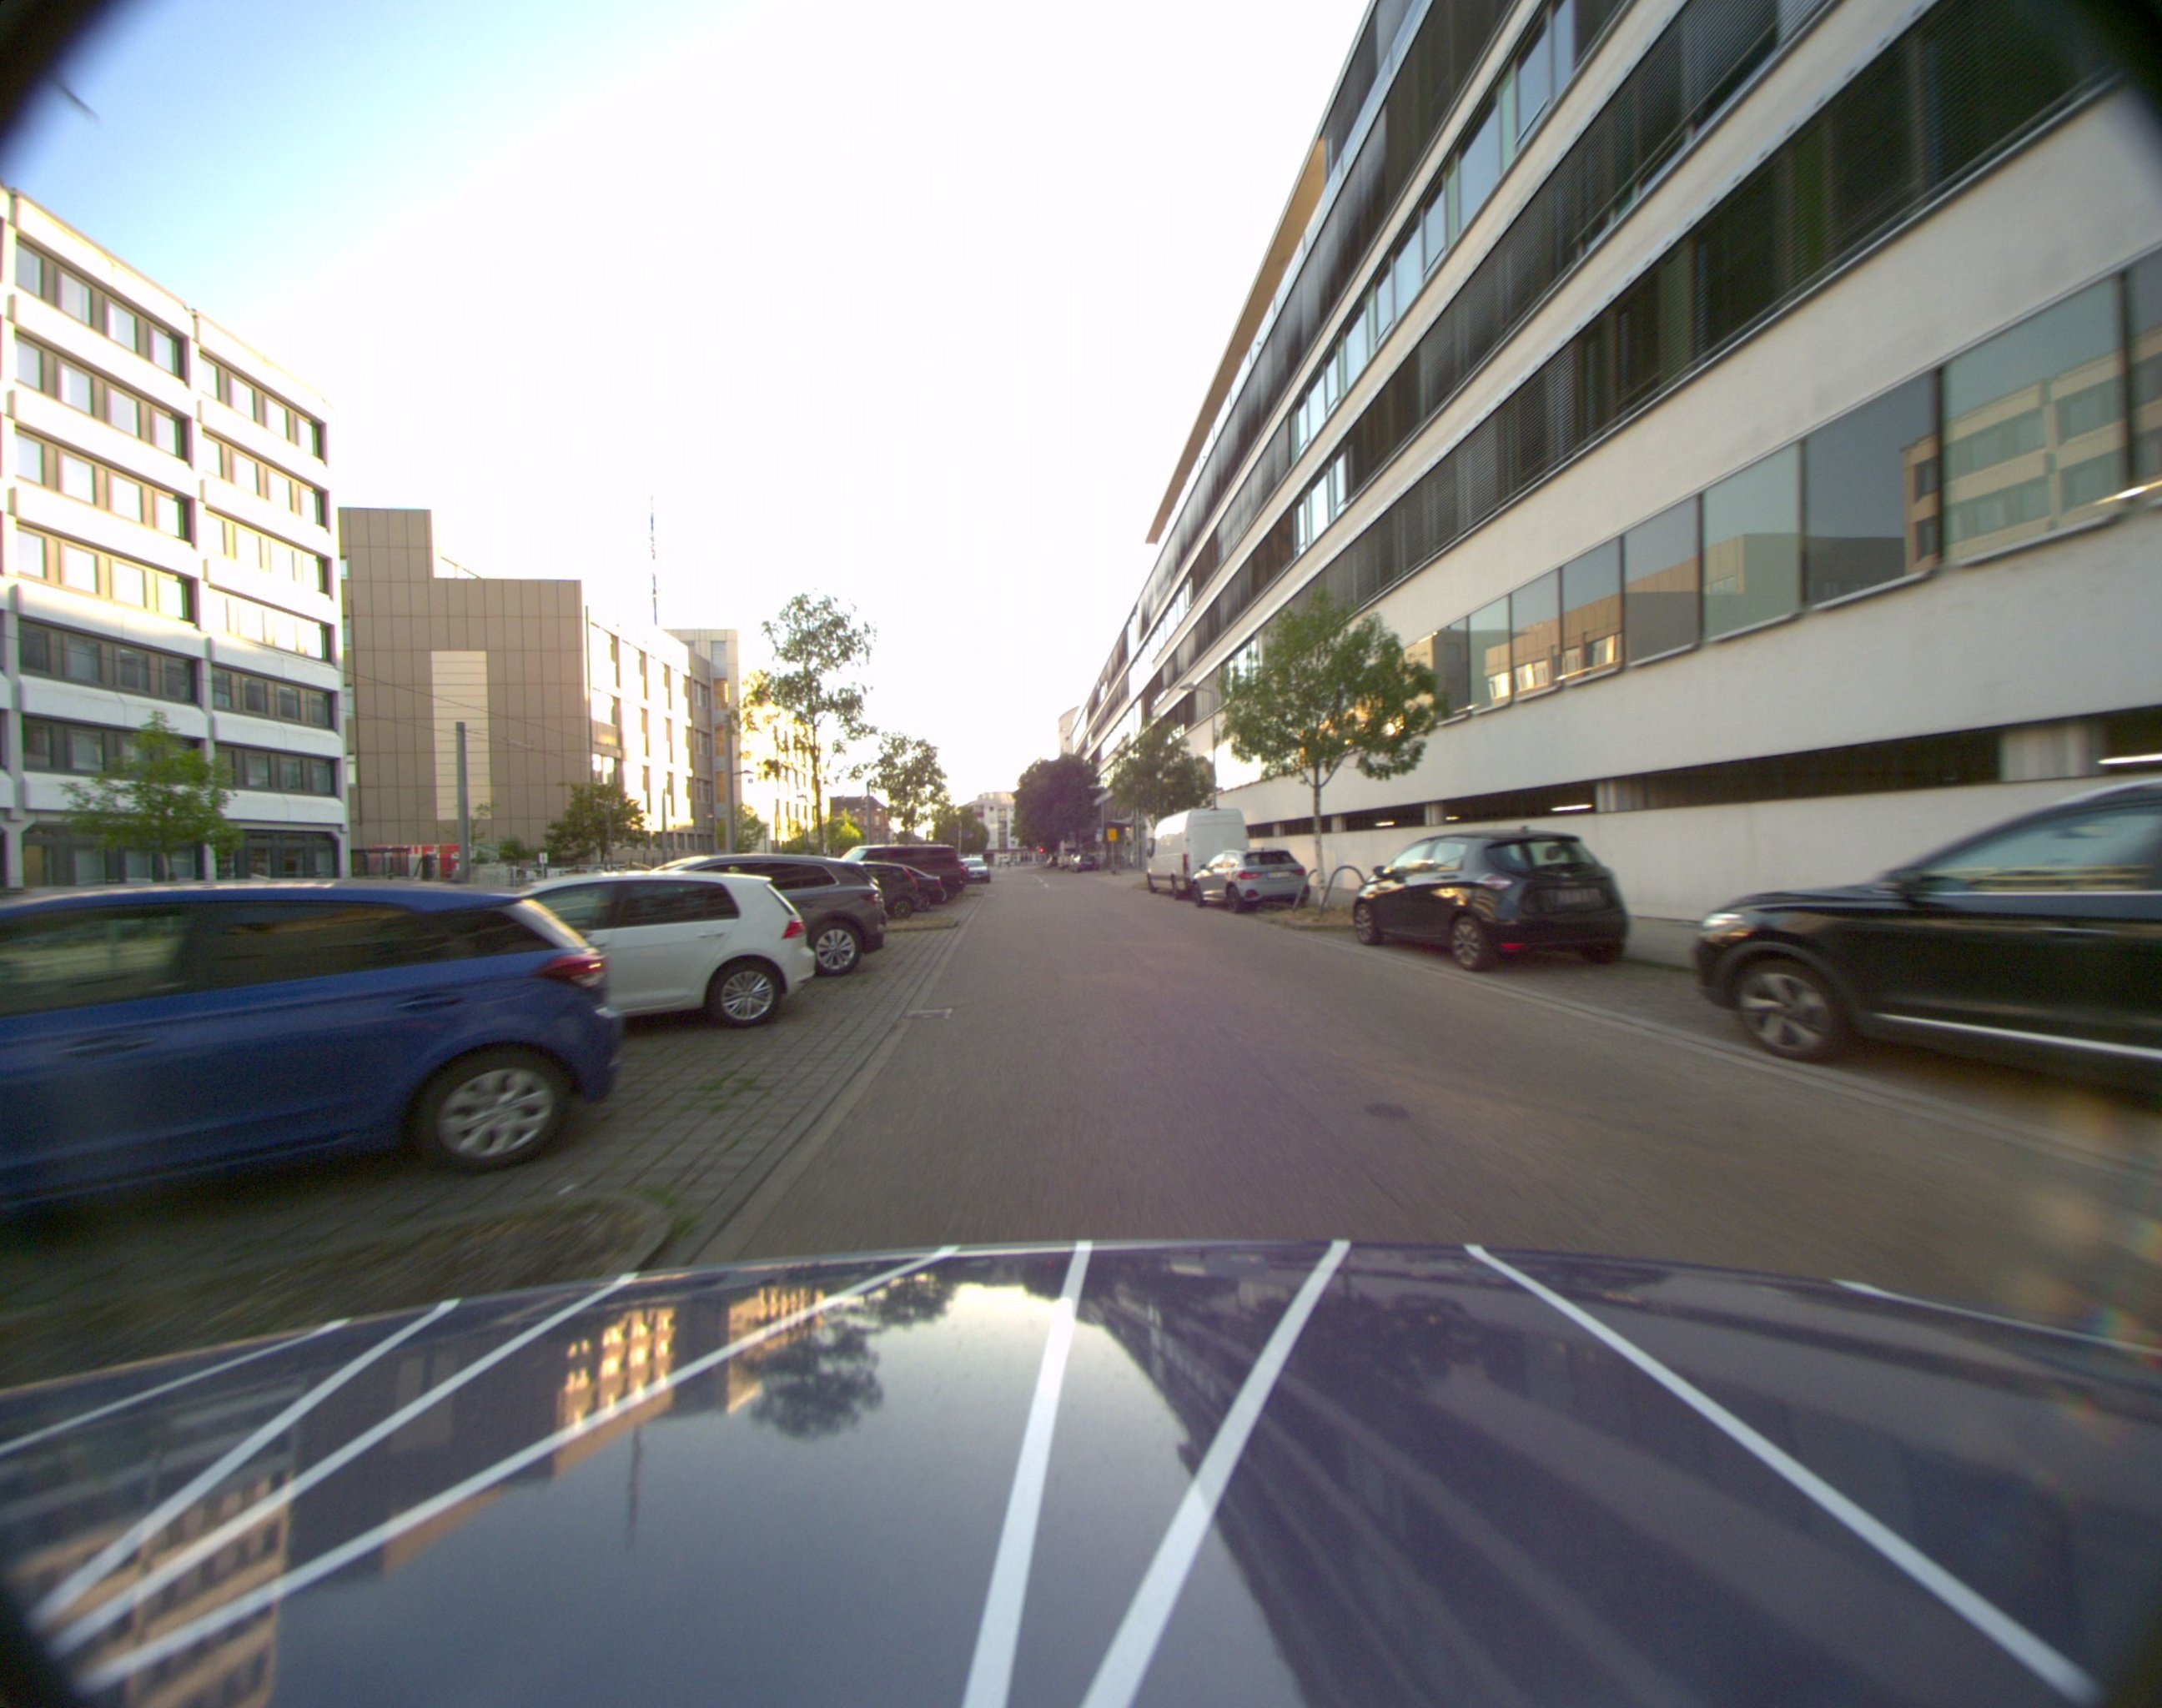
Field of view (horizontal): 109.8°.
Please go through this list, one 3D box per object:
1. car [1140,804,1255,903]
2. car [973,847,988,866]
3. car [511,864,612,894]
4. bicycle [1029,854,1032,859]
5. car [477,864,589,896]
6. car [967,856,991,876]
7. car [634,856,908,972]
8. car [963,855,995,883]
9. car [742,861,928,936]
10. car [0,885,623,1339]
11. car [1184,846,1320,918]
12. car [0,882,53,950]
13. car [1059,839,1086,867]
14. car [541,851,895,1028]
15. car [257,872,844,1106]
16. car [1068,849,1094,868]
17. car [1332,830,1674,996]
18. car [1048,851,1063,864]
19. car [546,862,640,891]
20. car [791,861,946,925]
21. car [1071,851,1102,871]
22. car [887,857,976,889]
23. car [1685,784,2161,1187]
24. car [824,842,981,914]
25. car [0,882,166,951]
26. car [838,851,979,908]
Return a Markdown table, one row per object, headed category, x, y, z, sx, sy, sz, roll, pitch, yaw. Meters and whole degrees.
| category | x | y | z | sx | sy | sz | roll | pitch | yaw |
| --- | --- | --- | --- | --- | --- | --- | --- | --- | --- |
| car | 3.502 | -0.010 | 24.409 | 1.964 | 2.601 | 6.889 | -4 | 0 | -5 |
| car | -14.873 | 0.335 | 113.082 | 2.057 | 2.641 | 5.431 | 2 | 0 | -7 |
| car | -26.909 | 1.280 | 39.459 | 3.999 | 1.478 | 1.674 | 1 | 0 | -4 |
| bicycle | -11.807 | 0.604 | 178.266 | 0.515 | 1.040 | 1.901 | -1 | 0 | -8 |
| car | -26.491 | 1.241 | 36.841 | 3.999 | 1.504 | 1.823 | 0 | 0 | -7 |
| car | -7.777 | 0.875 | 57.712 | 1.681 | 1.443 | 4.184 | -2 | 0 | -8 |
| car | -5.183 | 0.864 | 12.813 | 3.994 | 1.630 | 1.968 | 0 | 1 | -33 |
| car | -6.131 | 0.839 | 45.467 | 1.736 | 1.457 | 3.996 | -4 | 1 | -8 |
| car | -5.822 | 0.989 | 18.191 | 3.785 | 1.434 | 1.759 | -3 | 0 | -41 |
| car | -4.413 | 1.020 | 3.406 | 3.761 | 1.500 | 1.683 | -3 | 0 | -40 |
| car | 3.961 | 0.611 | 18.301 | 1.762 | 1.431 | 3.898 | -4 | 0 | -10 |
| car | -24.448 | 1.437 | 15.600 | 3.999 | 1.390 | 1.591 | -4 | 0 | -7 |
| car | -0.866 | -0.102 | 76.131 | 2.106 | 2.648 | 6.948 | -2 | 0 | -5 |
| car | -4.609 | 0.928 | 9.883 | 3.785 | 1.715 | 1.759 | -3 | 0 | -38 |
| car | -4.474 | 0.952 | 7.035 | 3.940 | 1.500 | 1.952 | 0 | 0 | -35 |
| car | -0.012 | 0.357 | 66.430 | 1.849 | 1.562 | 4.265 | -2 | 0 | -5 |
| car | 4.909 | 0.590 | 9.618 | 1.761 | 1.552 | 4.041 | -4 | 0 | -5 |
| car | -3.379 | 0.447 | 99.209 | 1.594 | 1.559 | 4.469 | -5 | 0 | -5 |
| car | -26.713 | 1.224 | 41.664 | 3.999 | 1.478 | 1.674 | 1 | 0 | -4 |
| car | -5.915 | 1.040 | 21.384 | 3.785 | 1.456 | 1.634 | -3 | 0 | -41 |
| car | 0.389 | 0.551 | 60.713 | 1.720 | 1.443 | 4.395 | -2 | 0 | -9 |
| car | -7.652 | 0.934 | 39.081 | 4.008 | 1.512 | 1.922 | -1 | 2 | -40 |
| car | 5.231 | 0.487 | 3.312 | 1.761 | 1.644 | 3.946 | -4 | 0 | -6 |
| car | -5.853 | 0.731 | 25.223 | 4.611 | 2.023 | 1.867 | -3 | 0 | -39 |
| car | -24.807 | 1.527 | 17.966 | 3.999 | 1.390 | 1.591 | -4 | 0 | -7 |
| car | -6.254 | 0.872 | 27.818 | 4.611 | 1.739 | 1.867 | -3 | 0 | -39 |
